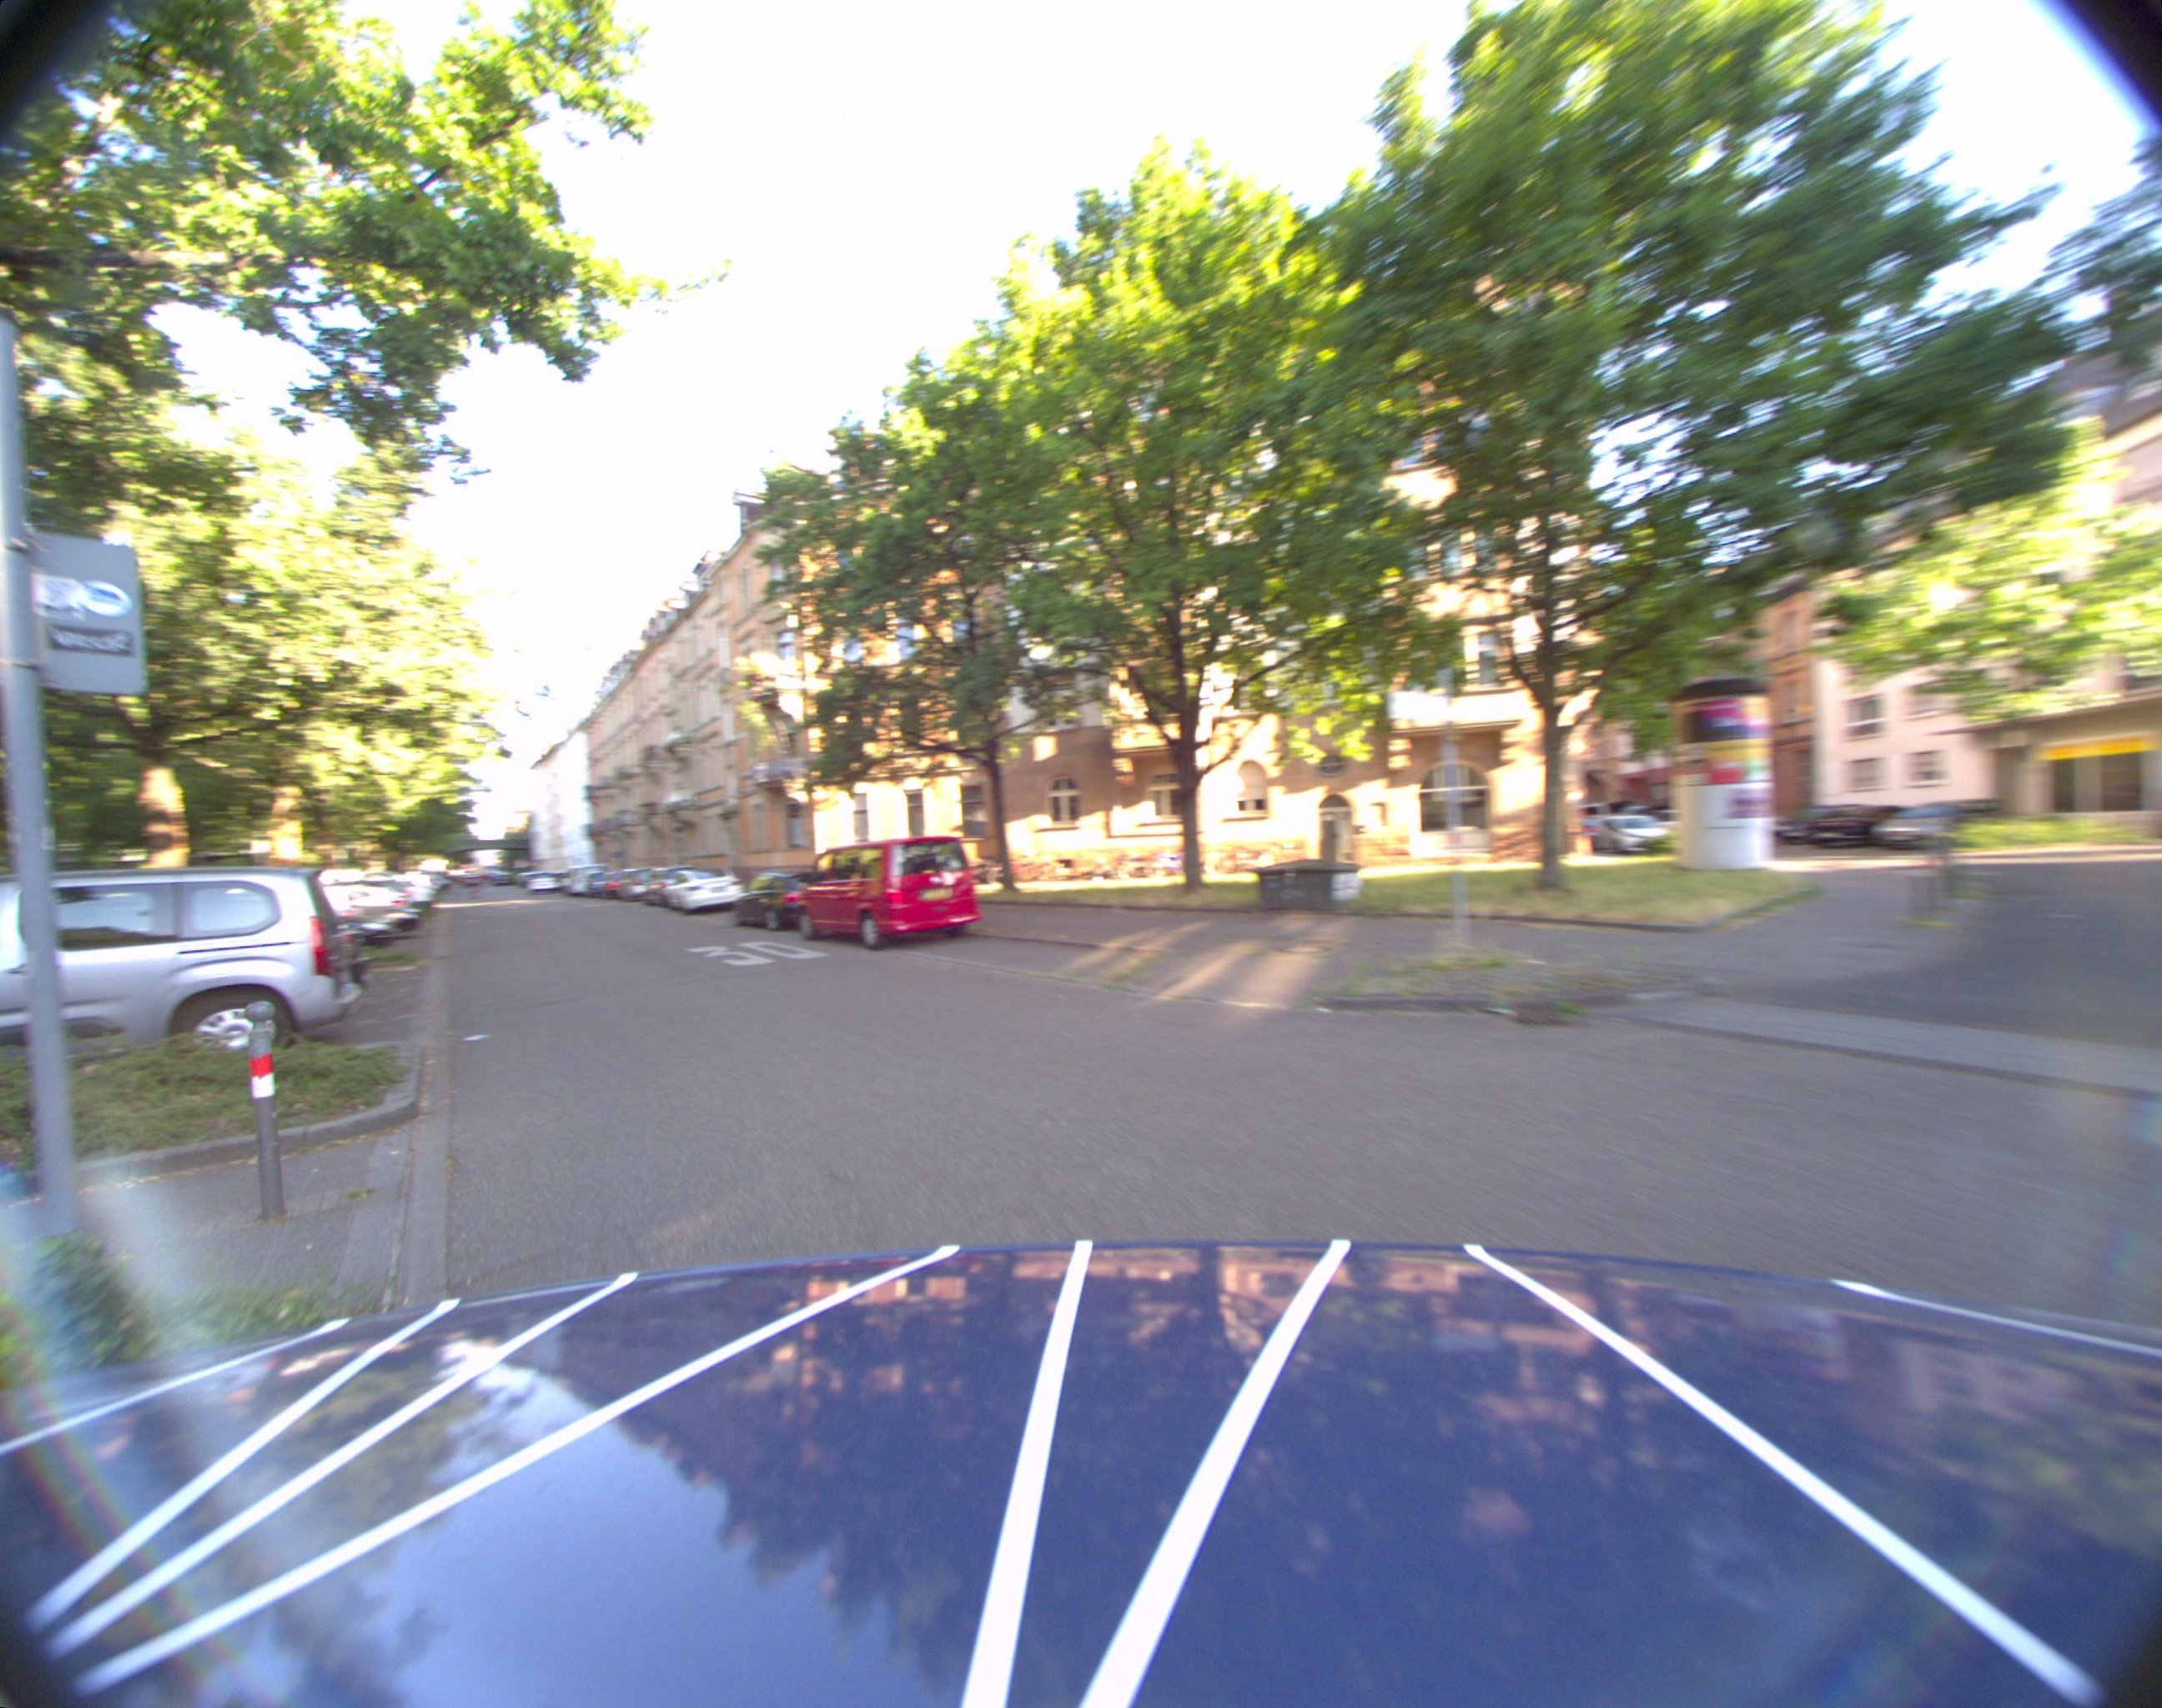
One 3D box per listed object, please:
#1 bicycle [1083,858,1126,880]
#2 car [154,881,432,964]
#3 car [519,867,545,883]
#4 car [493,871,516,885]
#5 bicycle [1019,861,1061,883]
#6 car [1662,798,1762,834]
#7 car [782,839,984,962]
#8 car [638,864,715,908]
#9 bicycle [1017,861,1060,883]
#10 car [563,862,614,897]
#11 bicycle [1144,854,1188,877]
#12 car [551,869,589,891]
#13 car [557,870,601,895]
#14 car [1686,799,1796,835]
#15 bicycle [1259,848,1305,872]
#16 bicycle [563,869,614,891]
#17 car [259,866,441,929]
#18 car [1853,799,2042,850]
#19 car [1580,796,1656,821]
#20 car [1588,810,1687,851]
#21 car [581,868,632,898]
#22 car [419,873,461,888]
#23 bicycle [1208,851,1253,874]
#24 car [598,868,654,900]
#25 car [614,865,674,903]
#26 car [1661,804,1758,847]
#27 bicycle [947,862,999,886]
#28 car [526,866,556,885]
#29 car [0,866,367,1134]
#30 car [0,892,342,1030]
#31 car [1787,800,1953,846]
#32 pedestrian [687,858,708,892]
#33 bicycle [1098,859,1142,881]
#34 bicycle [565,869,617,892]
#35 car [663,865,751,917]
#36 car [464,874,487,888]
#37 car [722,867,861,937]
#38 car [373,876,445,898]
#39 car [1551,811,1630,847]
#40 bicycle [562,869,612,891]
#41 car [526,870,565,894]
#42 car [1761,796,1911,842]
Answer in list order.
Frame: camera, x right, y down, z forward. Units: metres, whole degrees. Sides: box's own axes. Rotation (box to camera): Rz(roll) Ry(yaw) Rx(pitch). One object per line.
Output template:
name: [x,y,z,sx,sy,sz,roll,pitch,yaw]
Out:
bicycle: [0.849,0.566,28.002,1.507,0.728,0.369,-3,2,15]
car: [-20.226,1.673,19.900,4.723,1.564,1.994,-4,2,-37]
car: [-58.392,2.211,80.795,1.885,1.433,4.381,-7,3,-39]
car: [-69.831,2.916,91.988,1.885,1.433,4.381,-7,3,-39]
bicycle: [-1.570,0.681,28.825,1.507,0.728,0.369,-3,2,15]
car: [32.163,-1.919,38.760,4.001,1.626,1.871,-3,1,-12]
car: [-4.040,0.812,14.897,1.784,1.923,4.759,-7,3,-40]
car: [-15.908,1.230,29.811,1.692,1.467,3.871,-7,3,-41]
bicycle: [-1.583,0.682,28.404,1.507,0.728,0.415,-3,2,15]
car: [-30.225,1.546,46.566,1.916,1.872,4.712,-7,3,-39]
bicycle: [3.059,0.412,27.398,1.507,0.728,0.369,-3,2,15]
car: [-39.334,1.967,58.461,1.885,1.433,4.381,-7,3,-39]
car: [-33.752,1.870,51.077,1.885,1.433,4.381,-7,3,-39]
car: [31.066,-1.730,35.811,4.001,1.497,1.871,-3,1,-12]
bicycle: [6.981,0.217,26.437,1.507,0.728,0.369,-4,1,15]
bicycle: [-36.491,1.907,56.296,3.051,1.476,0.815,-3,1,-39]
car: [-28.312,1.611,29.735,4.869,2.026,2.149,-3,1,-39]
car: [28.000,-0.932,24.640,3.997,1.392,1.873,-3,1,0]
car: [35.139,-2.957,49.744,4.001,1.392,1.871,-3,1,-12]
car: [21.187,-0.899,29.111,1.870,1.392,4.004,-2,1,18]
car: [-26.490,1.591,42.362,1.771,1.430,3.878,-7,3,-39]
car: [-91.437,3.781,108.468,4.399,1.677,1.877,-6,3,-39]
bicycle: [5.310,0.307,27.011,1.507,0.728,0.369,-3,2,15]
car: [-23.150,1.493,38.578,1.771,1.376,4.278,-7,3,-38]
car: [-19.866,1.340,34.498,1.691,1.467,3.699,-7,3,-39]
car: [26.567,-1.201,32.311,1.938,1.638,4.539,-2,1,23]
bicycle: [-4.225,0.774,29.648,1.895,0.843,0.526,-3,1,15]
car: [-52.030,2.083,73.148,1.885,1.560,4.381,-7,3,-39]
car: [-9.175,1.196,6.225,4.561,1.904,1.945,-4,2,-37]
car: [-14.746,1.589,11.684,4.561,1.564,1.945,-4,2,-37]
car: [28.057,-1.077,27.114,3.997,1.392,1.873,-3,1,0]
pedestrian: [-20.171,1.075,39.929,0.676,1.709,0.720,-7,4,-39]
bicycle: [1.402,0.571,27.452,1.507,0.728,0.369,-3,2,15]
bicycle: [-35.485,1.882,55.057,3.051,1.476,0.815,-3,1,-39]
car: [-12.812,1.203,25.921,1.784,1.467,4.259,-6,3,-37]
car: [-71.812,3.144,90.108,1.885,1.423,4.381,-6,3,-37]
car: [-7.437,1.138,19.286,1.784,1.426,4.259,-7,3,-41]
car: [-54.778,2.658,62.041,4.274,1.480,1.680,-3,1,-39]
car: [22.555,-1.112,33.816,1.870,1.392,4.004,-2,1,18]
bicycle: [-37.088,1.920,57.108,3.051,1.476,0.815,-3,1,-39]
car: [-38.812,2.010,55.033,1.885,1.528,4.381,-7,3,-39]
car: [29.710,-1.337,29.992,3.996,1.559,1.873,-3,1,2]
